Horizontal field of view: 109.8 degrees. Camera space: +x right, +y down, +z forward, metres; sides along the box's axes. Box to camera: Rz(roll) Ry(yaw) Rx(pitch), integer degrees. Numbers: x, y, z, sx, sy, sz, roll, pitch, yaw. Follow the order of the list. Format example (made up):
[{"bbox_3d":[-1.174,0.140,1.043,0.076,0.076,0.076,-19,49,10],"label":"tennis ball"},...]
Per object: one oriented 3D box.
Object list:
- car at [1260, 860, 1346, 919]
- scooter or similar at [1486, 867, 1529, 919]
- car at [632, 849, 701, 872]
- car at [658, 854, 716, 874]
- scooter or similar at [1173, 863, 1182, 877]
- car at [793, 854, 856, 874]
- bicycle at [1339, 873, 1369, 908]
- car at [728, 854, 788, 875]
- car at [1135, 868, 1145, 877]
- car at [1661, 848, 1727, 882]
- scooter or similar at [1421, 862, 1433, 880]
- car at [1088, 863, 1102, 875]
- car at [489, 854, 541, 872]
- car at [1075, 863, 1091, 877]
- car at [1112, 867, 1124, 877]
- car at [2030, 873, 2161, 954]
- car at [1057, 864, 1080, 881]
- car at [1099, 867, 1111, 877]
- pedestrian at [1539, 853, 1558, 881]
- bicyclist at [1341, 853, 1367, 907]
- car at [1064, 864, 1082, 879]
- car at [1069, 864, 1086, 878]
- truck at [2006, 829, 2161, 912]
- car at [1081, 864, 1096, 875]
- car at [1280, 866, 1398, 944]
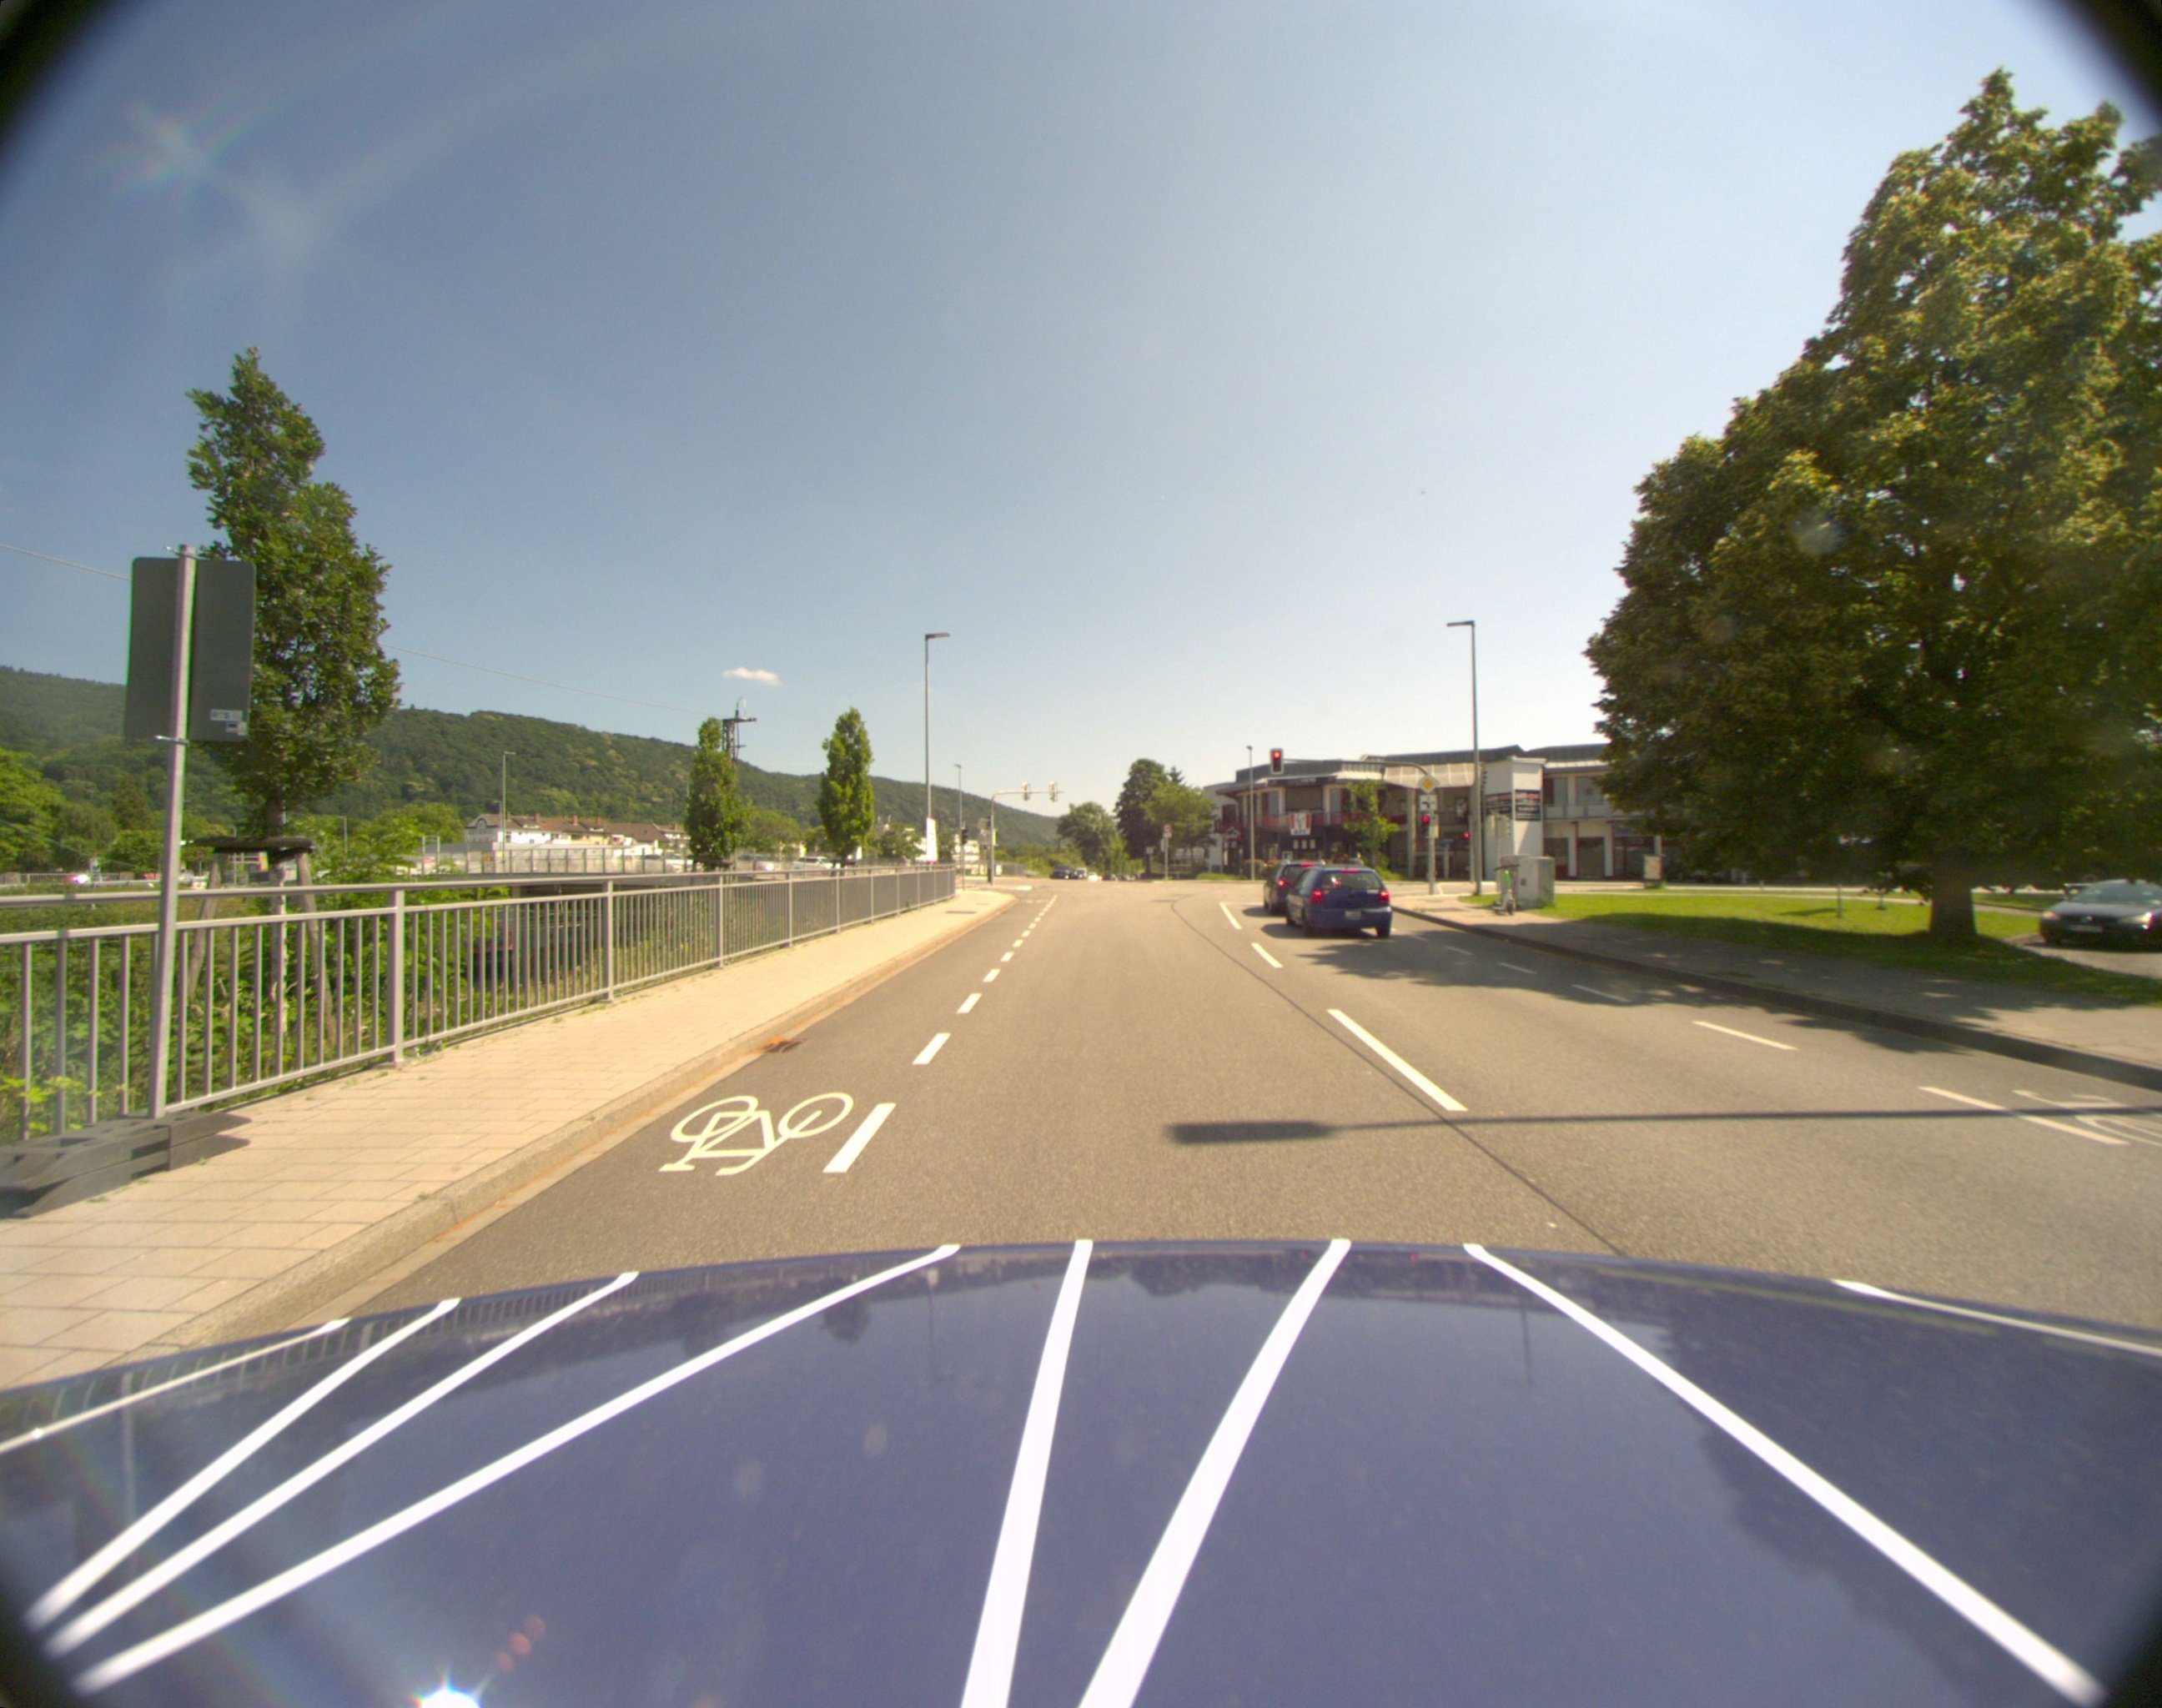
[{"bbox_3d":[6.137,0.915,21.470,1.783,1.487,4.726,0,0,10],"label":"car"},{"bbox_3d":[10.060,0.894,17.949,0.472,1.177,1.367,0,0,10],"label":"scooter or similar"},{"bbox_3d":[-31.548,0.520,57.865,4.622,1.709,2.003,0,0,20],"label":"car"},{"bbox_3d":[-32.438,0.853,62.565,4.432,1.617,1.740,0,0,22],"label":"car"},{"bbox_3d":[7.738,1.263,60.930,0.426,1.117,1.453,0,0,18],"label":"scooter or similar"},{"bbox_3d":[-18.998,0.753,56.298,4.399,1.461,1.740,0,0,24],"label":"car"},{"bbox_3d":[9.127,1.191,25.428,0.698,1.098,1.757,1,0,13],"label":"bicycle"},{"bbox_3d":[-25.213,0.799,59.224,4.431,1.617,1.740,0,0,24],"label":"car"},{"bbox_3d":[12.044,3.790,155.213,1.671,1.718,4.002,-4,-1,7],"label":"car"},{"bbox_3d":[35.369,0.614,43.972,1.804,1.844,4.667,0,0,24],"label":"car"},{"bbox_3d":[22.575,1.103,49.567,0.499,1.117,1.507,0,0,33],"label":"scooter or similar"},{"bbox_3d":[1.913,2.035,104.524,1.671,1.523,4.001,0,0,4],"label":"car"},{"bbox_3d":[-53.143,0.877,71.395,4.432,1.617,1.739,-1,0,20],"label":"car"},{"bbox_3d":[0.228,1.937,91.962,1.671,1.625,4.001,0,0,4],"label":"car"},{"bbox_3d":[6.415,3.102,132.699,1.671,1.523,4.002,-4,-1,7],"label":"car"},{"bbox_3d":[22.899,1.231,16.770,4.195,1.543,1.861,0,0,-30],"label":"car"},{"bbox_3d":[-1.221,1.816,76.719,1.829,1.617,4.239,0,0,5],"label":"car"},{"bbox_3d":[3.854,2.870,122.139,1.671,1.427,4.001,0,0,4],"label":"car"},{"bbox_3d":[27.208,0.754,44.214,0.731,1.636,0.844,0,0,44],"label":"pedestrian"},{"bbox_3d":[9.111,0.863,25.399,0.711,1.778,0.810,0,0,13],"label":"bicyclist"},{"bbox_3d":[-0.826,1.853,81.381,1.671,1.523,4.001,0,0,4],"label":"car"},{"bbox_3d":[-0.371,1.894,86.524,1.671,1.523,4.001,0,0,4],"label":"car"},{"bbox_3d":[45.804,0.661,31.382,9.146,3.366,3.320,-1,-1,23],"label":"truck"},{"bbox_3d":[0.946,1.977,97.151,1.671,1.309,4.001,0,0,4],"label":"car"},{"bbox_3d":[5.204,0.963,15.833,1.659,1.372,4.003,0,0,9],"label":"car"}]
